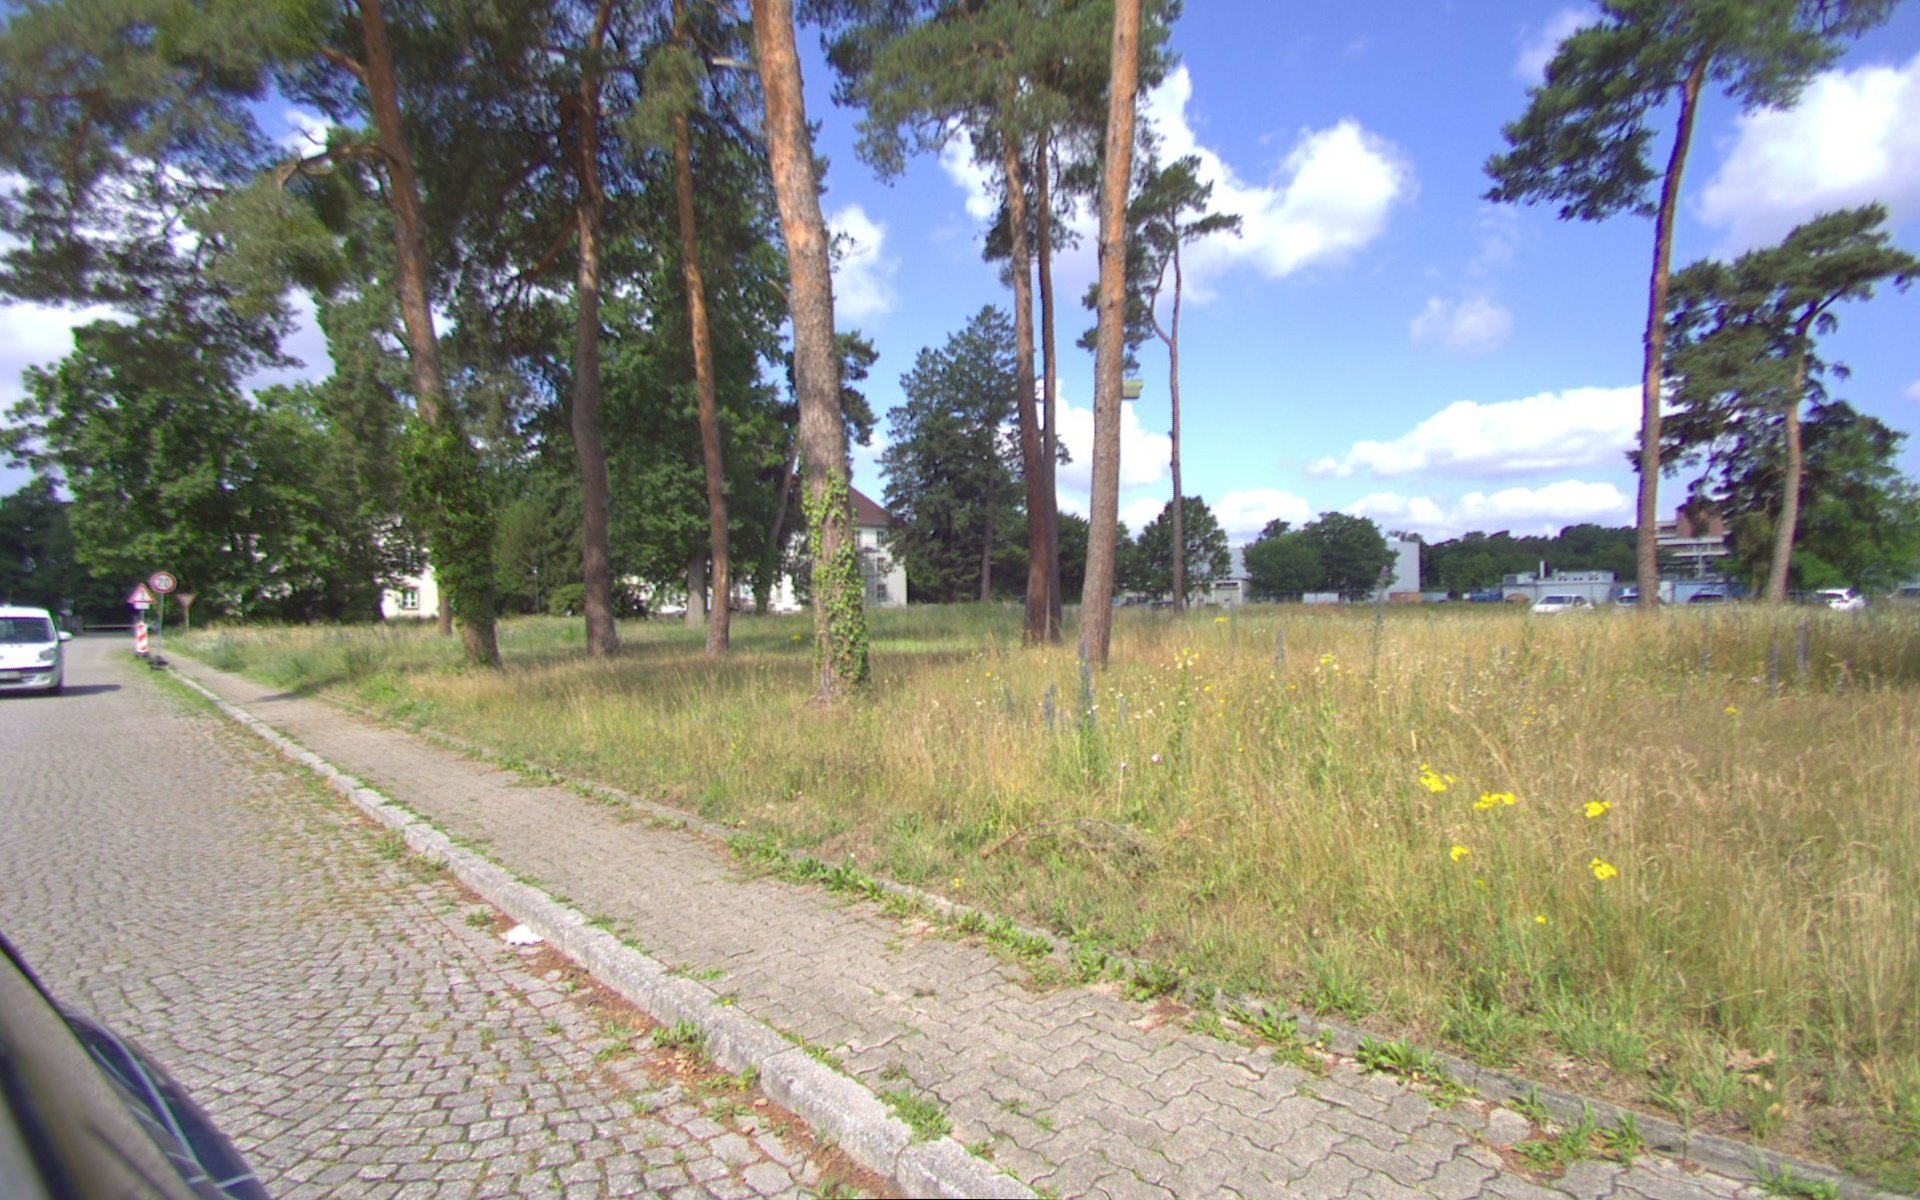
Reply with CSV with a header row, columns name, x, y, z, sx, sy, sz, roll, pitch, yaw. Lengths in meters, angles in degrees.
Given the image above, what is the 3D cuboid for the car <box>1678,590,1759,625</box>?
name,x,y,z,sx,sy,sz,roll,pitch,yaw
car,30.862,0.301,41.130,4.017,1.330,1.903,0,-1,-42

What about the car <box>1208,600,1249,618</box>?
name,x,y,z,sx,sy,sz,roll,pitch,yaw
car,25.916,0.829,97.634,4.017,1.715,1.903,0,-1,-42

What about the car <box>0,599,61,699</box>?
name,x,y,z,sx,sy,sz,roll,pitch,yaw
car,-19.831,1.028,20.913,1.812,1.883,4.837,-1,-2,-41

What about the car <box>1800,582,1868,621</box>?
name,x,y,z,sx,sy,sz,roll,pitch,yaw
car,40.322,0.084,46.669,4.017,1.715,1.903,0,-1,-42

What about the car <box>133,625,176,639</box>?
name,x,y,z,sx,sy,sz,roll,pitch,yaw
car,-99.413,3.938,124.947,4.024,1.656,1.769,0,-1,-42

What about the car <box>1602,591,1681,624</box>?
name,x,y,z,sx,sy,sz,roll,pitch,yaw
car,29.340,0.336,43.550,4.017,1.349,1.903,0,-1,-42

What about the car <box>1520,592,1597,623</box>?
name,x,y,z,sx,sy,sz,roll,pitch,yaw
car,27.066,0.348,45.720,4.009,1.359,1.903,0,-1,-42

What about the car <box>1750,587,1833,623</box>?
name,x,y,z,sx,sy,sz,roll,pitch,yaw
car,32.190,0.211,39.123,4.017,1.319,1.903,0,-1,-42
